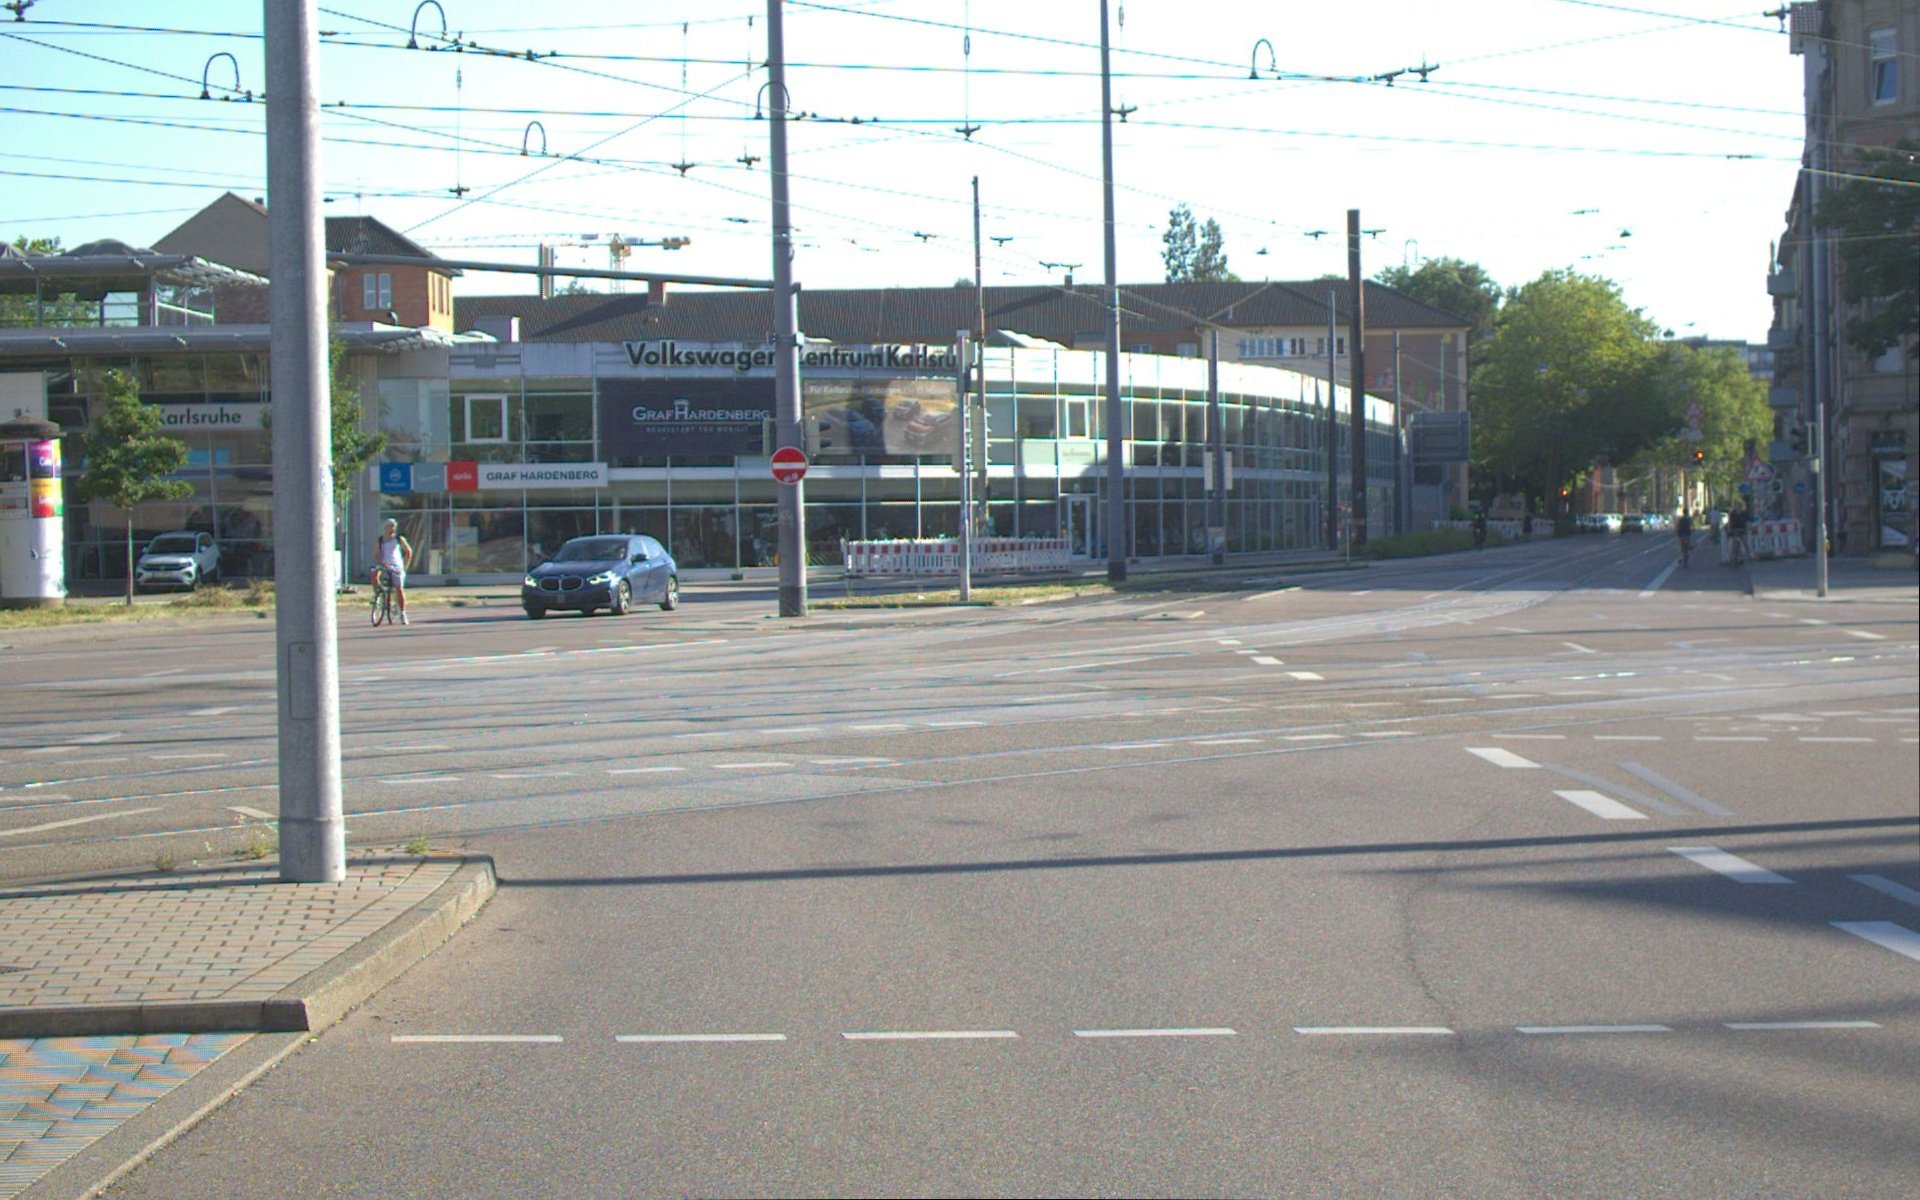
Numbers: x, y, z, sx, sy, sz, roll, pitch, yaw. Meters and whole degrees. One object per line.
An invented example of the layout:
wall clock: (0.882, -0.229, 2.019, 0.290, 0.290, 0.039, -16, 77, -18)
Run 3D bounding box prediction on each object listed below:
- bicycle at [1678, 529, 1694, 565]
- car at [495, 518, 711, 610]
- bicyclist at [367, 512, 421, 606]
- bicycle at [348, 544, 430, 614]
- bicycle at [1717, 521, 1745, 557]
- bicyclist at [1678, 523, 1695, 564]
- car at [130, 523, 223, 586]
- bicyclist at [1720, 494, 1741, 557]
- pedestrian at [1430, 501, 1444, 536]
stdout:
bicycle: (19.693, -1.431, 93.216, 0.410, 0.938, 1.844, 1, 1, 12)
car: (-6.360, -0.631, 61.639, 1.996, 1.579, 3.994, 1, 1, 27)
bicyclist: (-9.843, -0.712, 59.795, 0.598, 1.610, 0.822, 1, 0, 18)
bicycle: (-9.898, -0.367, 59.633, 0.613, 1.185, 1.867, 1, 1, 17)
bicycle: (20.945, -1.655, 93.356, 0.658, 0.949, 1.599, 1, 1, 15)
bicyclist: (19.711, -1.531, 93.289, 0.408, 1.112, 0.399, 1, 0, 11)
car: (-22.605, -1.311, 99.309, 1.993, 1.744, 4.001, 1, 1, -4)
bicyclist: (20.947, -2.031, 93.458, 0.519, 1.695, 0.516, 1, 0, 15)
pedestrian: (27.746, -4.757, 200.077, 0.716, 2.007, 0.758, 1, 0, 1)
